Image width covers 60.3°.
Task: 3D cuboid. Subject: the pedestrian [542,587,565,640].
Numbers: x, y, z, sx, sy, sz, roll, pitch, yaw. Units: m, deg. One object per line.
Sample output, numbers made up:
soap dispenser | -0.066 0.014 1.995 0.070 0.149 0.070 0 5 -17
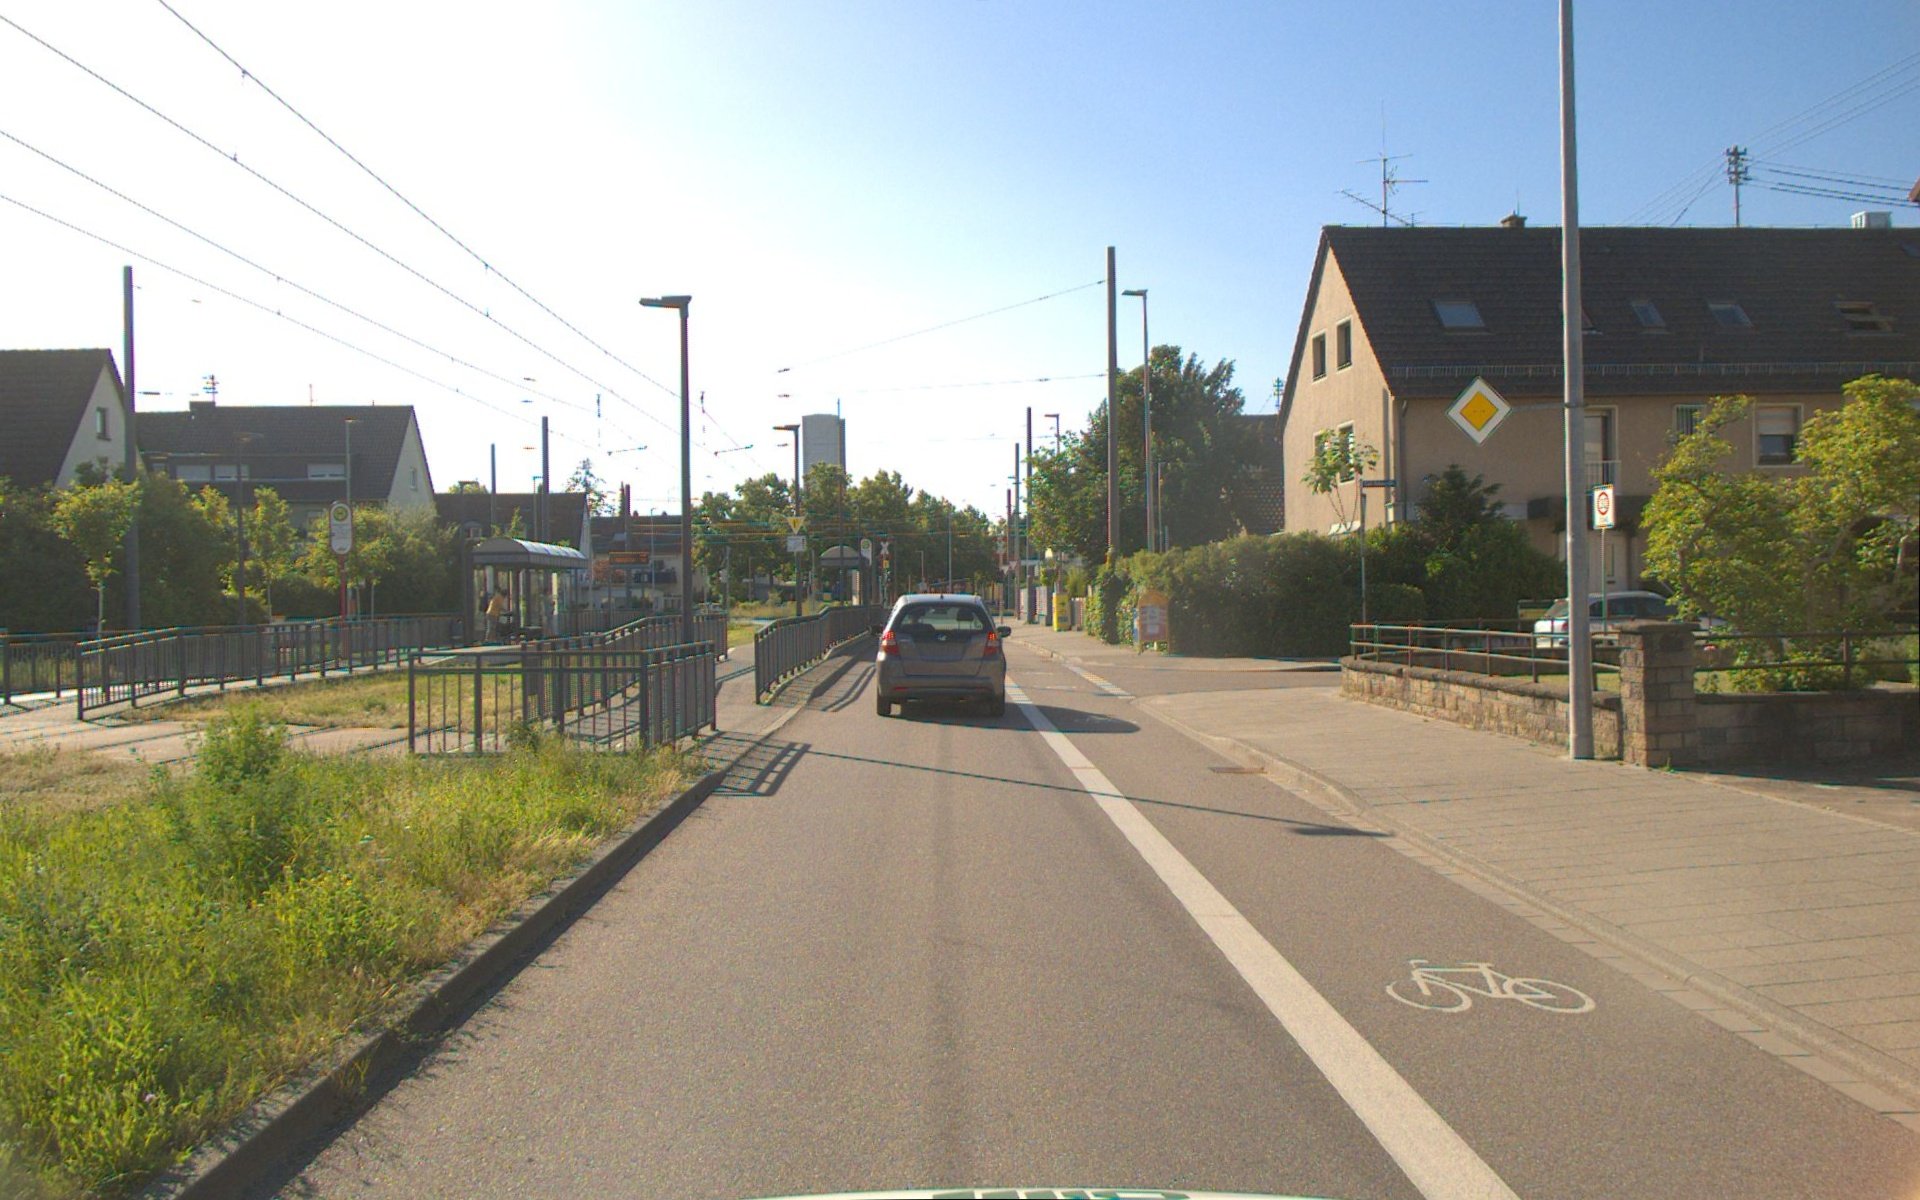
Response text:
pedestrian | -13.741 0.455 55.926 0.490 1.726 0.771 -3 0 0

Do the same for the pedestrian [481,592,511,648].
pedestrian | -13.184 0.562 47.036 0.662 1.562 0.748 -1 0 -5

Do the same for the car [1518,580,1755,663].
car | 13.660 0.438 33.504 4.060 1.538 1.799 -1 -2 -7

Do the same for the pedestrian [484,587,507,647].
pedestrian | -13.713 0.493 48.863 0.509 1.738 0.580 -1 0 -5

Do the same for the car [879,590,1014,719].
car | -0.216 0.681 21.966 1.637 1.562 3.485 0 0 -2

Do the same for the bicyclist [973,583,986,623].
bicyclist | 0.872 0.139 73.571 0.586 1.731 0.683 0 -1 -1

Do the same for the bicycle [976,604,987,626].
bicycle | 0.965 0.673 73.805 0.465 0.978 1.656 0 -1 -1

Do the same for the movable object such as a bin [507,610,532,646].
movable object such as a bin | -12.568 0.803 47.197 0.535 1.005 0.741 -1 0 -5

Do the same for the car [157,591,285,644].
car | -26.082 0.619 58.468 3.773 1.838 1.796 0 -1 -9

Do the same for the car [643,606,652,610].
car | -26.060 0.703 138.105 0.684 0.342 0.329 0 -1 3

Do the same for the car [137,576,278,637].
car | -25.291 0.237 55.692 3.913 2.004 1.929 0 -1 -9
